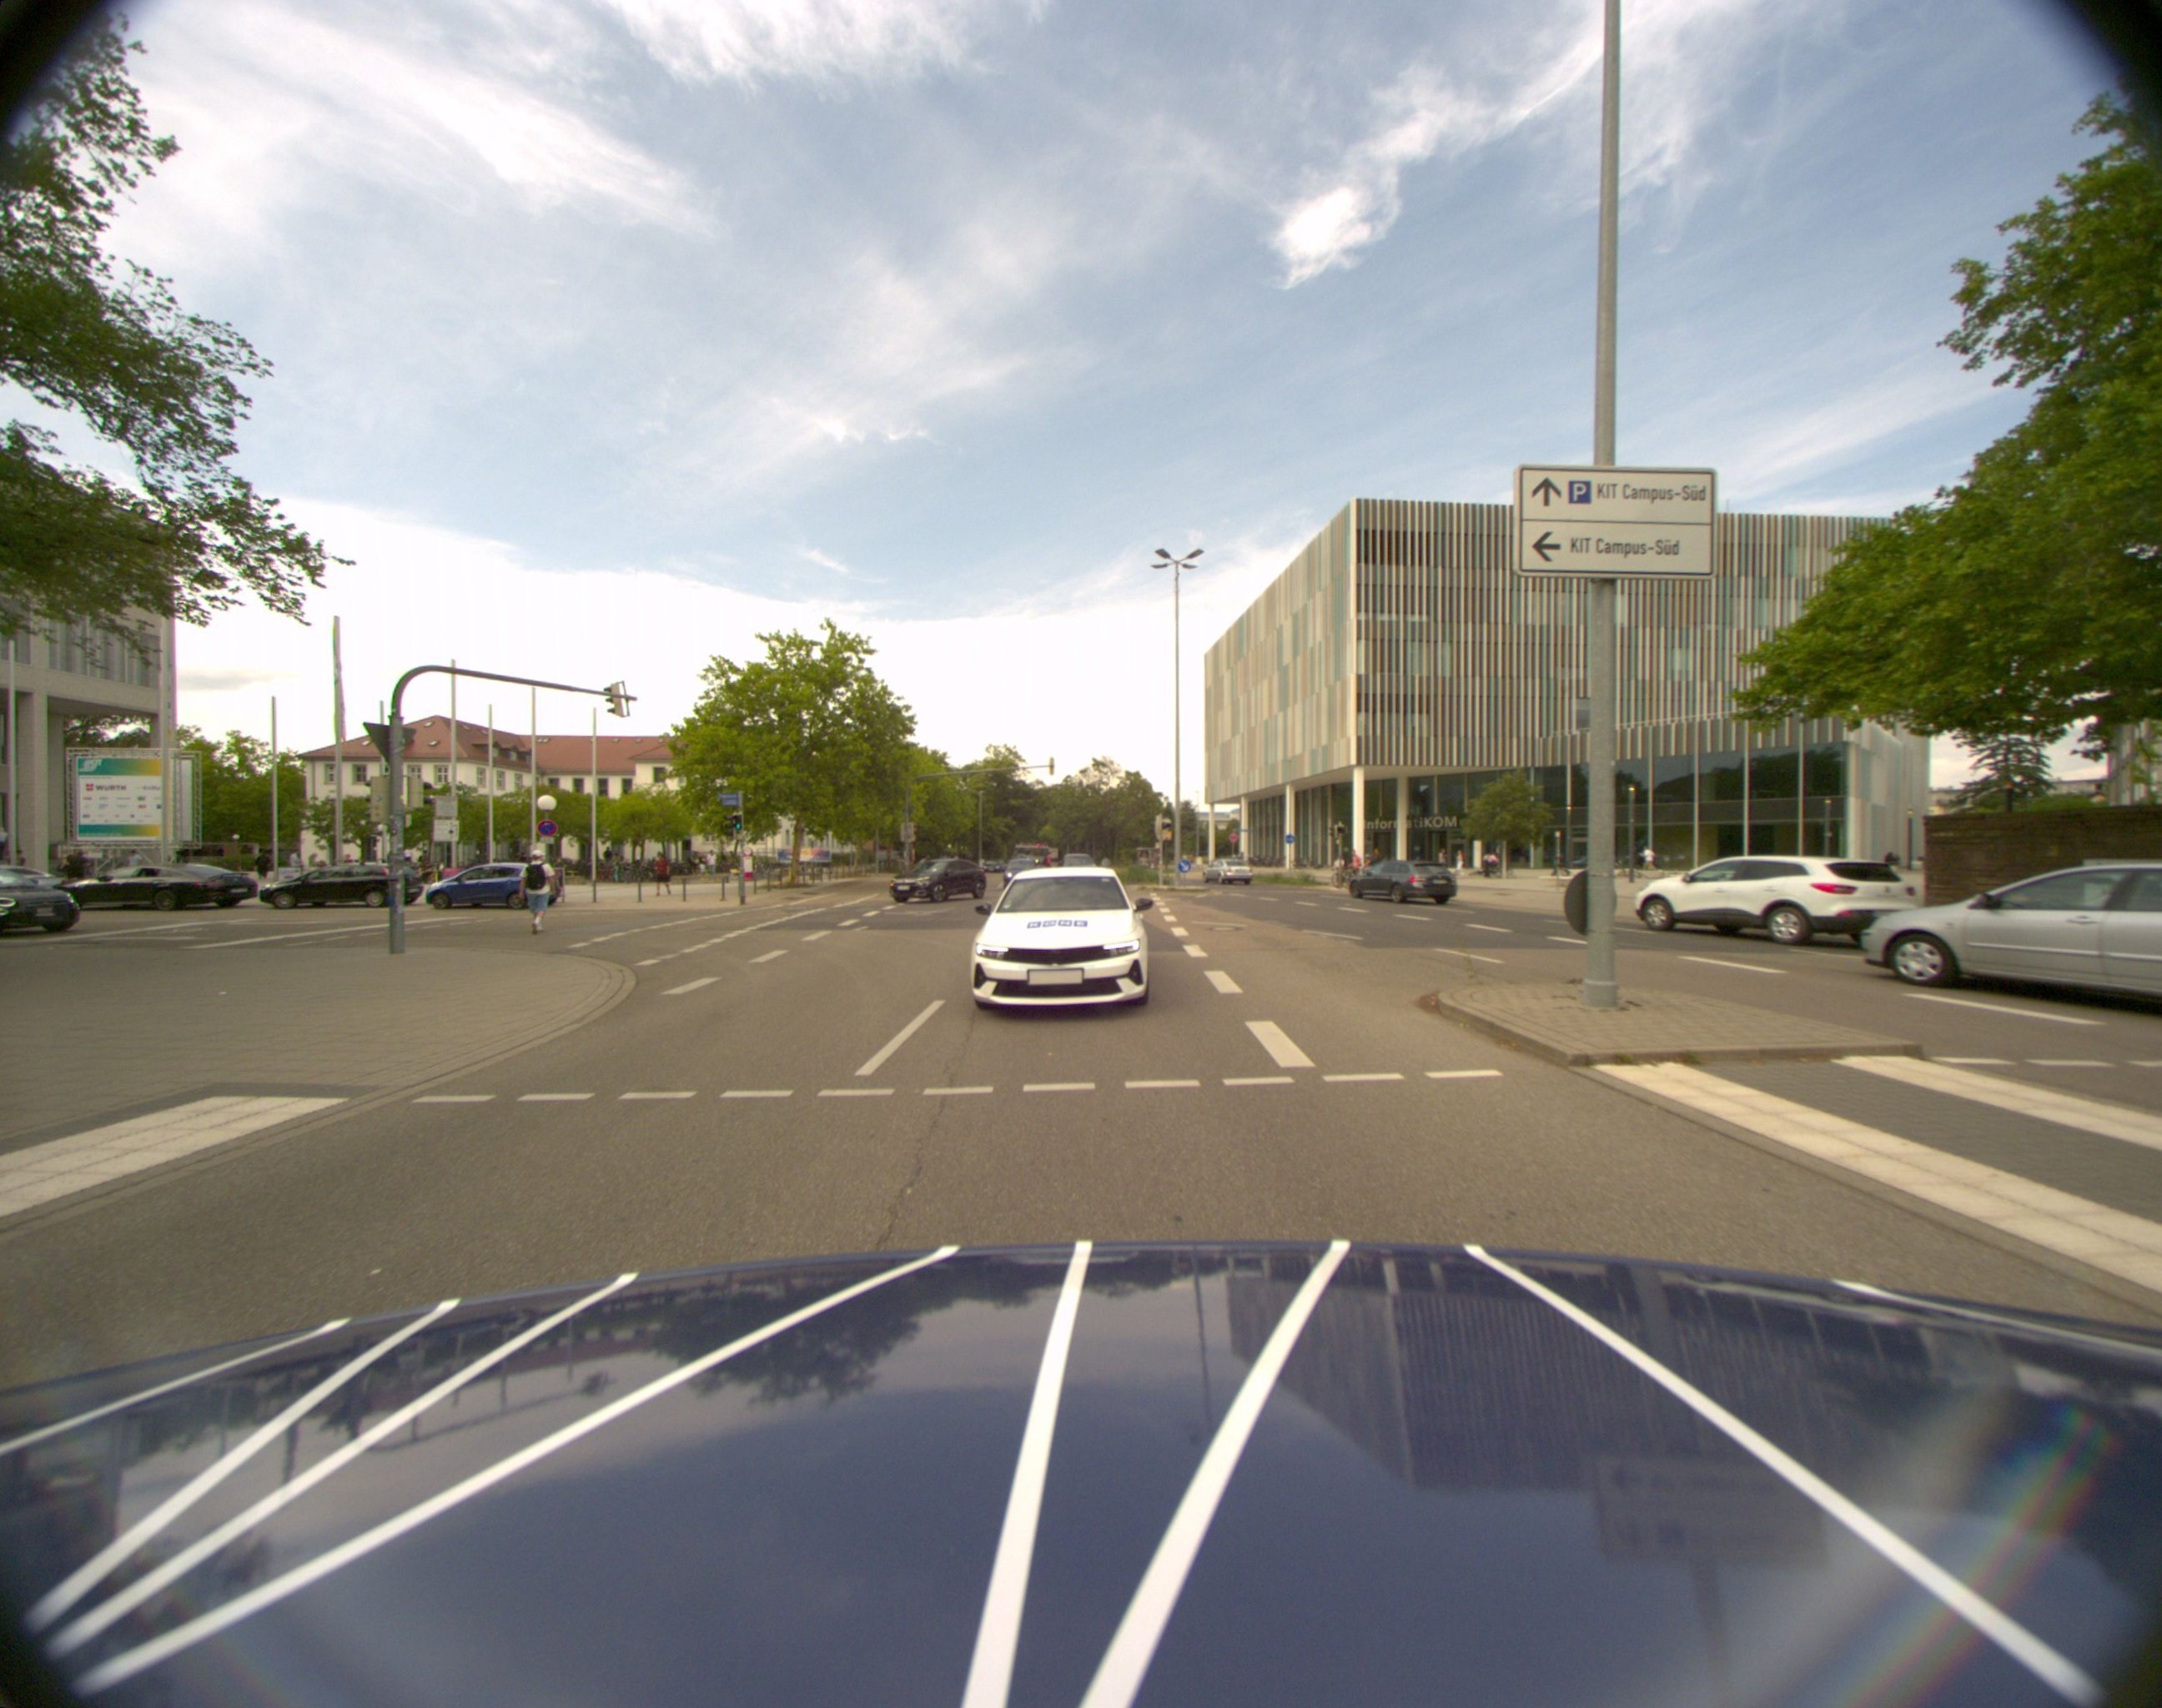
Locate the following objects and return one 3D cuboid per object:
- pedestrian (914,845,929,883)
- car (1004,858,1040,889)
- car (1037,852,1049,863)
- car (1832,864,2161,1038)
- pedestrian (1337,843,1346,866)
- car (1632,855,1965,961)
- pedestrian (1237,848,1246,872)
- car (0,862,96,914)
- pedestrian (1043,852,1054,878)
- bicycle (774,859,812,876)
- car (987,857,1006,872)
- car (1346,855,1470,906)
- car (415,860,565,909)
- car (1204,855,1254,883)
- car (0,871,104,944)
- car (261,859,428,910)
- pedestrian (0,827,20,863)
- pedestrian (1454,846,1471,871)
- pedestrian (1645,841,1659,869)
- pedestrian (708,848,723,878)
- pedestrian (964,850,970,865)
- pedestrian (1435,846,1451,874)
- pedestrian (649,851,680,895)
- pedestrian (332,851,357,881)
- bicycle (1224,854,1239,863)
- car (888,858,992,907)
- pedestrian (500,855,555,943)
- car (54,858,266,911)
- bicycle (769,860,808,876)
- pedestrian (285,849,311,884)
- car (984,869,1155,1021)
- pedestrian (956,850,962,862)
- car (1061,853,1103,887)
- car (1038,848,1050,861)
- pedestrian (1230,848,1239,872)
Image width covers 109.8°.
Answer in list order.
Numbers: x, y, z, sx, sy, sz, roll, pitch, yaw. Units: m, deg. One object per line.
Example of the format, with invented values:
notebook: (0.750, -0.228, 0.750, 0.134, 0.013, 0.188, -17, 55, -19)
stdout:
pedestrian: (-7.570, 0.474, 36.147, 0.574, 1.806, 0.681, -1, 1, -1)
car: (-3.008, 0.952, 38.644, 1.704, 1.485, 3.830, 0, 0, -5)
car: (-6.081, 0.561, 121.829, 1.661, 1.455, 3.997, 8, 0, -5)
car: (10.413, 0.876, 7.401, 1.807, 1.480, 4.287, 0, 0, -4)
pedestrian: (23.389, 0.041, 68.156, 0.512, 2.031, 0.624, 0, 0, -6)
car: (13.059, 0.851, 14.321, 1.870, 1.642, 4.420, 0, 0, -5)
pedestrian: (12.644, 0.470, 59.919, 0.512, 1.826, 0.624, 0, 0, -5)
car: (-34.479, 1.082, 24.164, 3.831, 1.558, 1.673, -1, 1, -4)
pedestrian: (-2.286, 0.765, 53.742, 0.727, 1.843, 1.064, -1, 1, -6)
bicycle: (-20.826, 0.975, 54.984, 2.472, 1.136, 0.717, -1, 1, -3)
car: (-8.563, 1.048, 77.226, 1.704, 1.361, 3.830, 0, 0, -5)
car: (11.412, 0.858, 26.922, 1.903, 1.606, 4.741, 0, 0, -7)
car: (-19.646, 0.998, 25.384, 3.581, 1.483, 1.673, -1, 1, -4)
car: (8.498, 0.822, 44.007, 1.766, 1.480, 4.544, 0, 0, -4)
car: (-24.129, 1.141, 16.428, 3.581, 1.434, 1.683, -1, 1, -3)
car: (-24.350, 0.973, 25.234, 3.694, 1.558, 1.673, -1, 1, -4)
pedestrian: (-52.411, -0.431, 36.970, 0.671, 1.704, 0.632, -1, 1, 14)
pedestrian: (23.990, 0.287, 47.812, 0.731, 1.591, 0.677, -1, 1, -35)
pedestrian: (35.974, 0.043, 47.875, 0.635, 1.768, 0.598, 0, 1, 41)
pedestrian: (-23.682, 0.571, 49.247, 0.687, 1.952, 0.601, -3, 1, -43)
pedestrian: (-14.765, 0.392, 98.376, 0.798, 1.922, 0.759, 0, 1, -5)
pedestrian: (23.102, 0.373, 48.503, 0.732, 1.730, 0.676, -1, 1, -38)
pedestrian: (-17.424, 0.800, 31.803, 0.769, 1.794, 0.891, -2, 1, 1)
pedestrian: (-40.542, 0.646, 41.852, 0.728, 1.587, 0.601, -2, 1, -16)
bicycle: (18.237, 0.575, 92.061, 1.704, 1.017, 0.434, -2, 1, -9)
car: (-5.045, 0.991, 27.786, 1.801, 1.547, 4.181, -2, 1, 21)
pedestrian: (-12.019, 0.945, 16.524, 0.647, 1.842, 0.828, -2, 1, -15)
car: (-29.432, 0.951, 24.398, 4.451, 1.558, 1.673, -1, 1, -4)
bicycle: (-20.876, 0.987, 54.193, 2.472, 1.136, 0.717, -1, 1, -3)
pedestrian: (-42.324, 0.681, 41.088, 0.728, 1.833, 0.601, -2, 1, -18)
car: (-0.301, 0.973, 10.172, 1.745, 1.430, 4.780, 0, 0, -5)
pedestrian: (-15.766, 0.227, 98.038, 0.646, 1.556, 0.804, 0, 1, -6)
car: (-0.003, 0.766, 39.612, 1.905, 1.639, 4.643, -1, 0, -3)
car: (-5.911, 0.066, 122.359, 1.840, 2.002, 3.999, 0, 0, -2)
pedestrian: (12.068, 0.458, 59.692, 0.512, 1.826, 0.772, 0, 0, -5)
